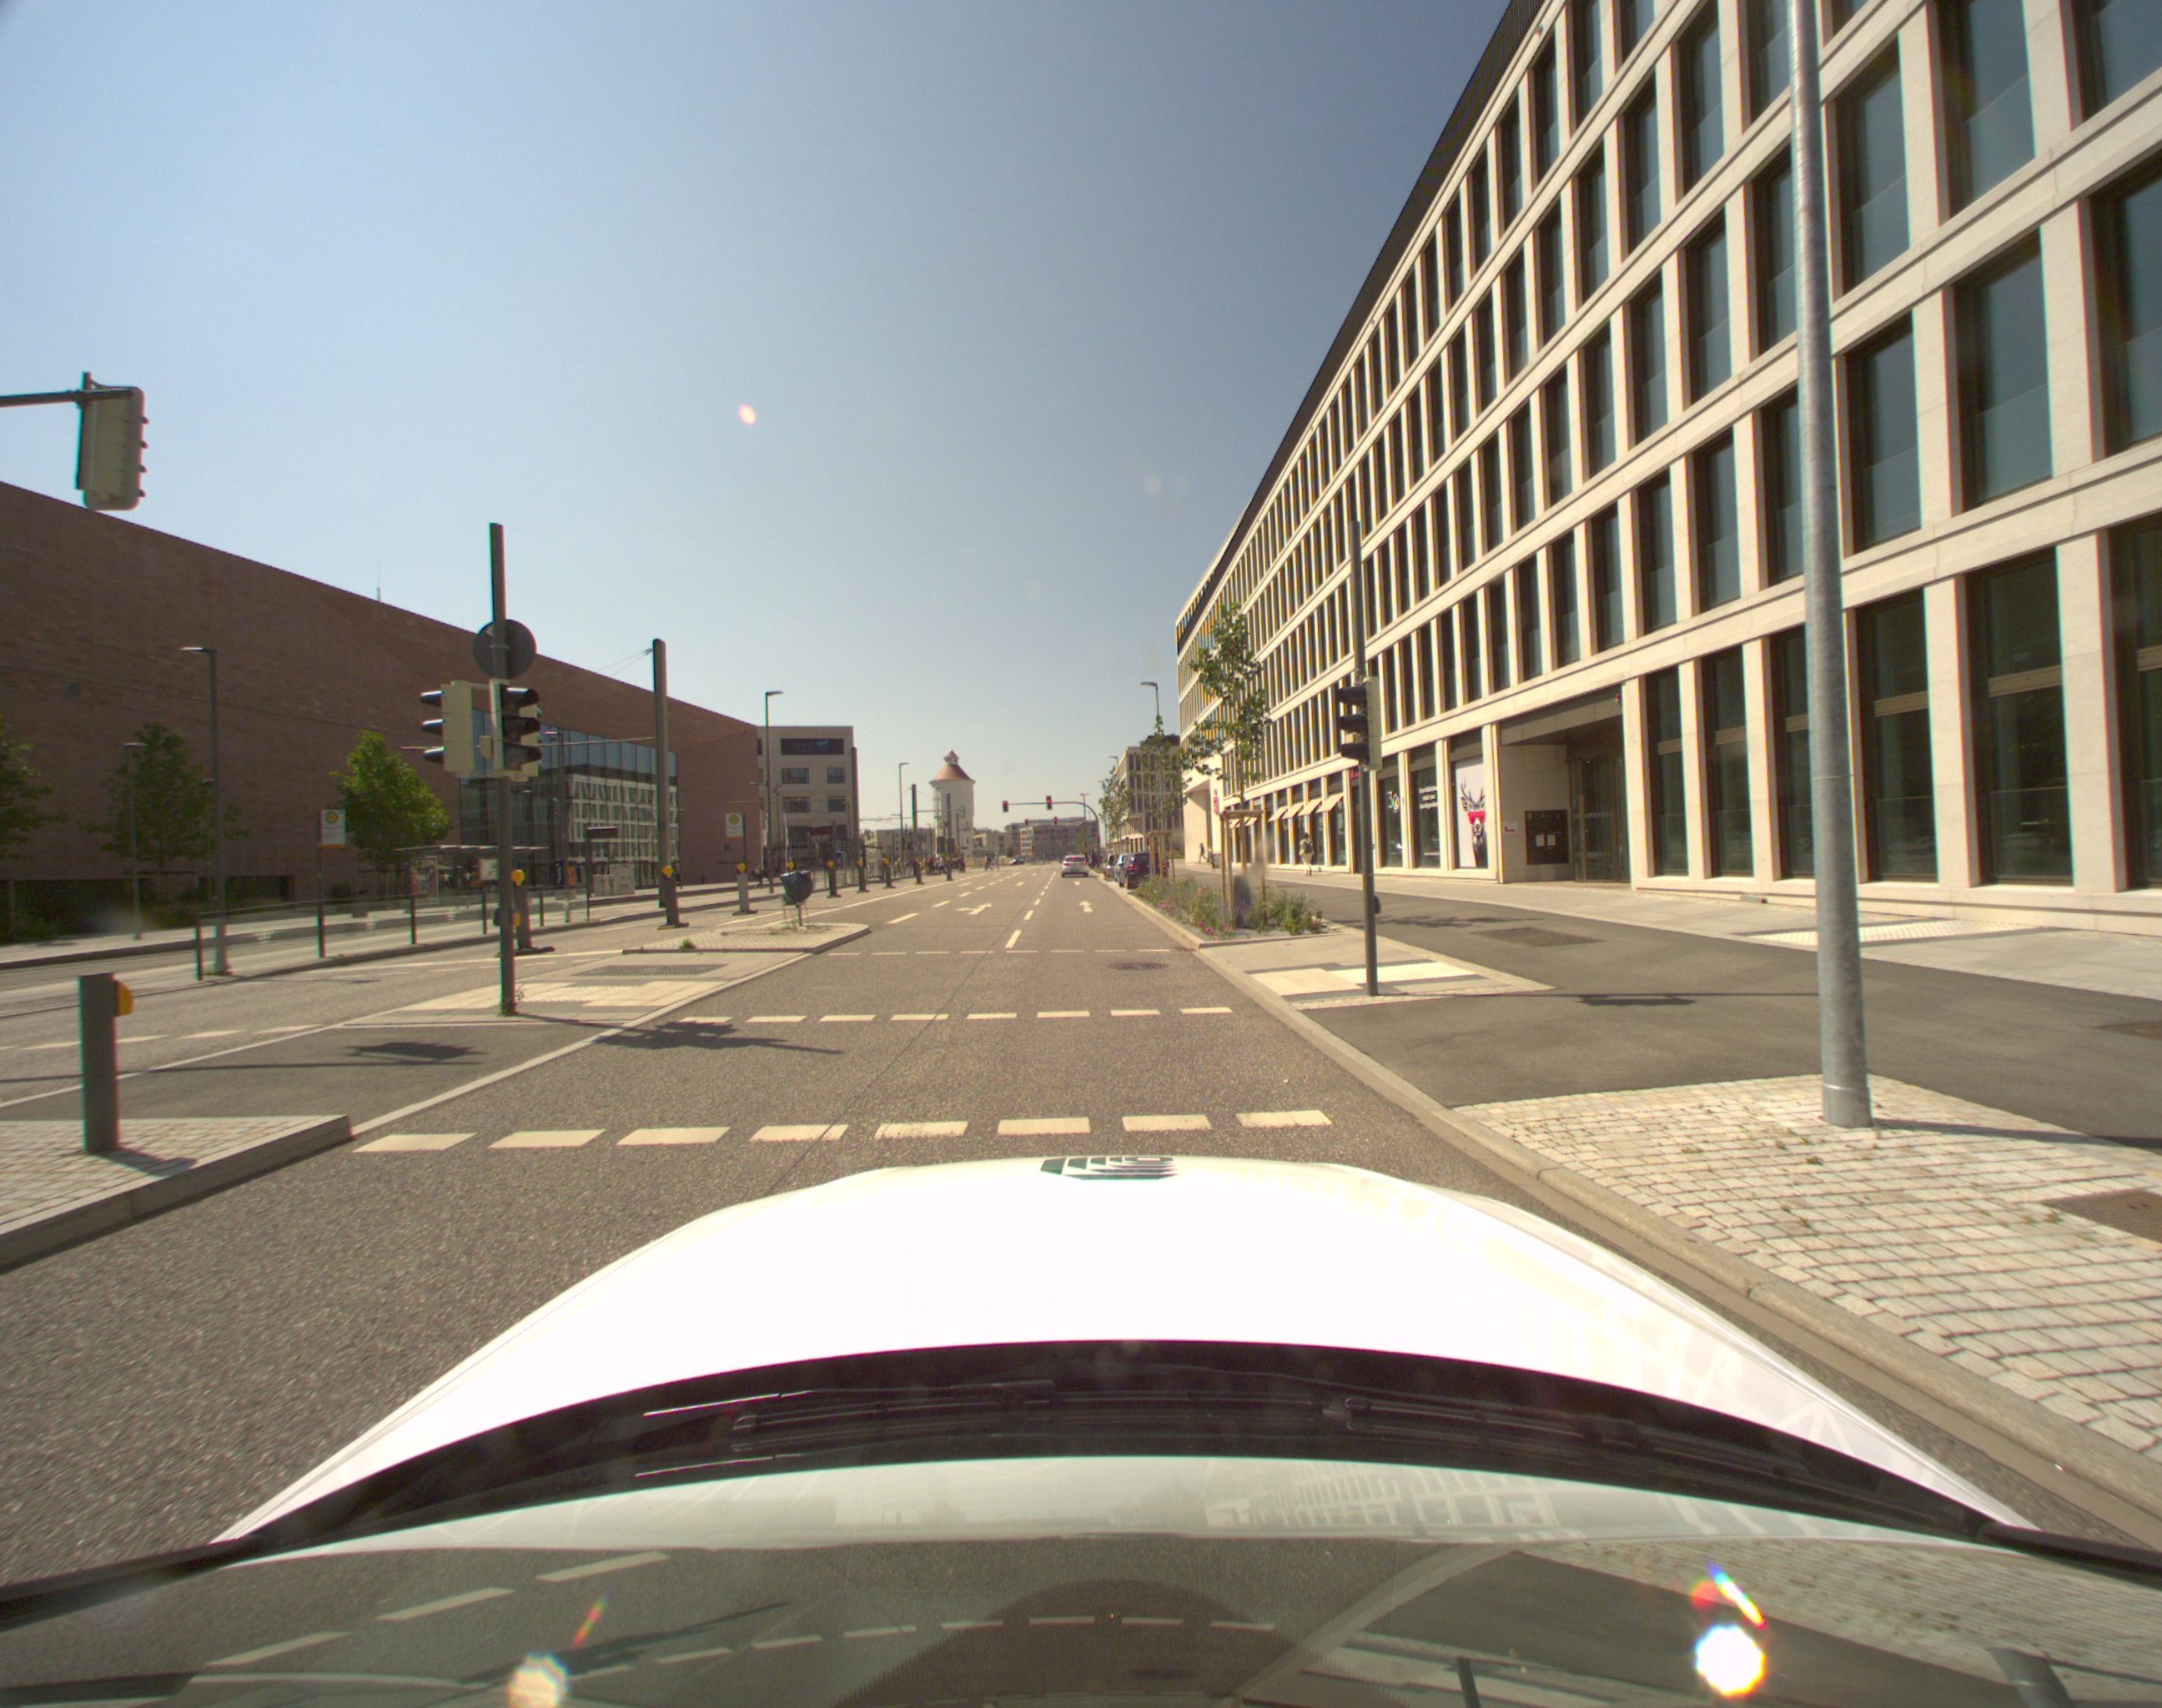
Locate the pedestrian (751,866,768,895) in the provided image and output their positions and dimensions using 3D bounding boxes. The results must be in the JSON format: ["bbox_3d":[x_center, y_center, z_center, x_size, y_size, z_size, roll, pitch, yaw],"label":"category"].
[{"bbox_3d":[-20.868,1.701,52.869,0.808,1.820,0.825,-1,-1,-1],"label":"pedestrian"}]

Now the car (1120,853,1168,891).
[{"bbox_3d":[2.588,0.753,34.280,1.730,1.474,3.980,-1,-1,1],"label":"car"}]

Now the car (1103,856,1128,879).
[{"bbox_3d":[2.279,0.874,54.429,1.425,1.390,3.998,-2,0,-1],"label":"car"}]

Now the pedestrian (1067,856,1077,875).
[{"bbox_3d":[-0.812,1.036,73.934,0.791,1.647,0.891,-2,-1,1],"label":"pedestrian"}]

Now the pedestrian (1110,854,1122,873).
[{"bbox_3d":[3.160,0.853,73.112,0.887,1.635,0.690,-2,-1,-6],"label":"pedestrian"}]

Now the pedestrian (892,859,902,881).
[{"bbox_3d":[-16.376,1.428,72.320,0.634,1.890,0.796,-2,-1,0],"label":"pedestrian"}]

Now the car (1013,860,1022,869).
[{"bbox_3d":[-11.687,1.891,149.807,1.582,1.530,3.689,-1,-1,-2],"label":"car"}]

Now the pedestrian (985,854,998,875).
[{"bbox_3d":[-8.852,1.058,80.622,1.023,2.014,0.948,-2,-1,-20],"label":"pedestrian"}]

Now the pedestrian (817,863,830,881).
[{"bbox_3d":[-28.255,1.986,89.371,0.880,1.890,0.989,-2,-1,19],"label":"pedestrian"}]

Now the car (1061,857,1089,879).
[{"bbox_3d":[-0.369,0.981,54.910,1.765,1.395,3.532,-1,-2,1],"label":"car"}]

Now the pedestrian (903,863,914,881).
[{"bbox_3d":[-15.705,1.636,74.129,0.725,1.576,0.642,-2,-1,3],"label":"pedestrian"}]

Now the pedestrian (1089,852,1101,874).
[{"bbox_3d":[1.248,0.814,72.889,0.887,1.890,0.795,-2,-1,-6],"label":"pedestrian"}]

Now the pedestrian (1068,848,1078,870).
[{"bbox_3d":[-0.687,0.431,72.885,0.727,1.890,0.822,-2,-1,5],"label":"pedestrian"}]

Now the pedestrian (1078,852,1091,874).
[{"bbox_3d":[0.302,0.817,71.903,1.011,1.890,0.797,-2,-1,-4],"label":"pedestrian"}]

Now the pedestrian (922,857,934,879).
[{"bbox_3d":[-13.812,1.265,73.471,0.887,1.890,0.690,-2,-1,-6],"label":"pedestrian"}]

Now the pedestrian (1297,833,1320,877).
[{"bbox_3d":[9.080,0.046,32.535,0.626,1.742,0.814,-2,-1,-1],"label":"pedestrian"}]

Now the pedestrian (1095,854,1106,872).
[{"bbox_3d":[1.825,0.863,76.593,0.888,1.647,0.793,-2,-1,-11],"label":"pedestrian"}]

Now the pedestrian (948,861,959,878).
[{"bbox_3d":[-12.970,1.580,82.906,0.884,1.647,0.797,-2,-1,3],"label":"pedestrian"}]

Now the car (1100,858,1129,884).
[{"bbox_3d":[2.010,1.004,49.699,1.551,1.472,3.468,-2,0,-1],"label":"car"}]

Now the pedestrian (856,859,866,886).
[{"bbox_3d":[-14.846,1.222,54.979,0.552,1.820,0.596,0,-1,-22],"label":"pedestrian"}]

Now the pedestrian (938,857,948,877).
[{"bbox_3d":[-13.165,1.239,77.638,0.731,1.890,0.714,0,-1,4],"label":"pedestrian"}]

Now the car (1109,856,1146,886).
[{"bbox_3d":[2.360,0.871,41.992,1.600,1.388,3.813,-3,0,-1],"label":"car"}]

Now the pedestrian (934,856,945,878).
[{"bbox_3d":[-12.643,1.169,72.827,0.887,1.890,0.690,-2,-1,-6],"label":"pedestrian"}]

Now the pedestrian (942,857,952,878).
[{"bbox_3d":[-12.373,1.211,75.108,0.764,1.890,0.691,-2,-1,0],"label":"pedestrian"}]

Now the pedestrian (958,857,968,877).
[{"bbox_3d":[-11.052,1.213,76.200,0.764,1.890,0.691,-2,-1,0],"label":"pedestrian"}]

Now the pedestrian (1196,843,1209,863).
[{"bbox_3d":[10.568,-0.067,71.056,0.987,1.655,0.692,-2,-1,0],"label":"pedestrian"}]

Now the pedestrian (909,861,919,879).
[{"bbox_3d":[-14.984,1.417,72.924,0.630,1.618,0.769,-2,-1,5],"label":"pedestrian"}]

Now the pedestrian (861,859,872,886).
[{"bbox_3d":[-14.691,1.232,55.759,0.666,1.820,0.717,0,-1,-24],"label":"pedestrian"}]

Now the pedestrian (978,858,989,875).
[{"bbox_3d":[-9.608,1.226,80.135,0.896,1.674,1.006,-2,-1,-19],"label":"pedestrian"}]

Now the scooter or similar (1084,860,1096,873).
[{"bbox_3d":[0.868,1.164,76.433,0.951,1.118,0.764,-2,-1,-11],"label":"scooter or similar"}]

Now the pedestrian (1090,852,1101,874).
[{"bbox_3d":[1.319,0.819,73.727,0.887,1.890,0.795,-2,-1,-6],"label":"pedestrian"}]

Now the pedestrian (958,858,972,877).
[{"bbox_3d":[-11.701,1.379,82.106,1.176,1.820,1.069,-2,-1,3],"label":"pedestrian"}]

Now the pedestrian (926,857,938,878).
[{"bbox_3d":[-13.902,1.273,76.040,0.885,1.890,0.796,-2,-1,-1],"label":"pedestrian"}]

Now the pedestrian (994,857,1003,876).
[{"bbox_3d":[-7.842,1.201,77.389,0.764,1.734,0.691,-2,-1,0],"label":"pedestrian"}]

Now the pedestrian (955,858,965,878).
[{"bbox_3d":[-11.461,1.328,77.098,0.838,1.890,0.691,-2,-1,0],"label":"pedestrian"}]

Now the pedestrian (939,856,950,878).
[{"bbox_3d":[-12.089,1.136,72.067,0.887,1.890,0.690,-2,-1,-6],"label":"pedestrian"}]

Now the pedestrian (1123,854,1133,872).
[{"bbox_3d":[4.282,0.840,74.041,0.760,1.620,0.694,-2,-1,15],"label":"pedestrian"}]

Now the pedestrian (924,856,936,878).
[{"bbox_3d":[-13.268,1.155,71.617,0.887,1.890,0.690,-2,-1,-6],"label":"pedestrian"}]

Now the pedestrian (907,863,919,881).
[{"bbox_3d":[-15.797,1.718,76.671,0.906,1.637,0.815,-2,-1,3],"label":"pedestrian"}]

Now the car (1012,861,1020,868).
[{"bbox_3d":[-14.146,2.259,177.134,1.583,1.530,3.253,-1,-1,-3],"label":"car"}]

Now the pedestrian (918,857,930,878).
[{"bbox_3d":[-14.485,1.282,75.140,0.884,1.890,0.797,-2,-1,3],"label":"pedestrian"}]

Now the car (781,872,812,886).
[{"bbox_3d":[-40.104,3.552,114.758,3.946,1.816,1.790,-1,-2,-13],"label":"car"}]

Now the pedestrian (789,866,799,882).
[{"bbox_3d":[-28.798,1.968,81.780,0.709,1.572,0.890,-2,-1,-2],"label":"pedestrian"}]
